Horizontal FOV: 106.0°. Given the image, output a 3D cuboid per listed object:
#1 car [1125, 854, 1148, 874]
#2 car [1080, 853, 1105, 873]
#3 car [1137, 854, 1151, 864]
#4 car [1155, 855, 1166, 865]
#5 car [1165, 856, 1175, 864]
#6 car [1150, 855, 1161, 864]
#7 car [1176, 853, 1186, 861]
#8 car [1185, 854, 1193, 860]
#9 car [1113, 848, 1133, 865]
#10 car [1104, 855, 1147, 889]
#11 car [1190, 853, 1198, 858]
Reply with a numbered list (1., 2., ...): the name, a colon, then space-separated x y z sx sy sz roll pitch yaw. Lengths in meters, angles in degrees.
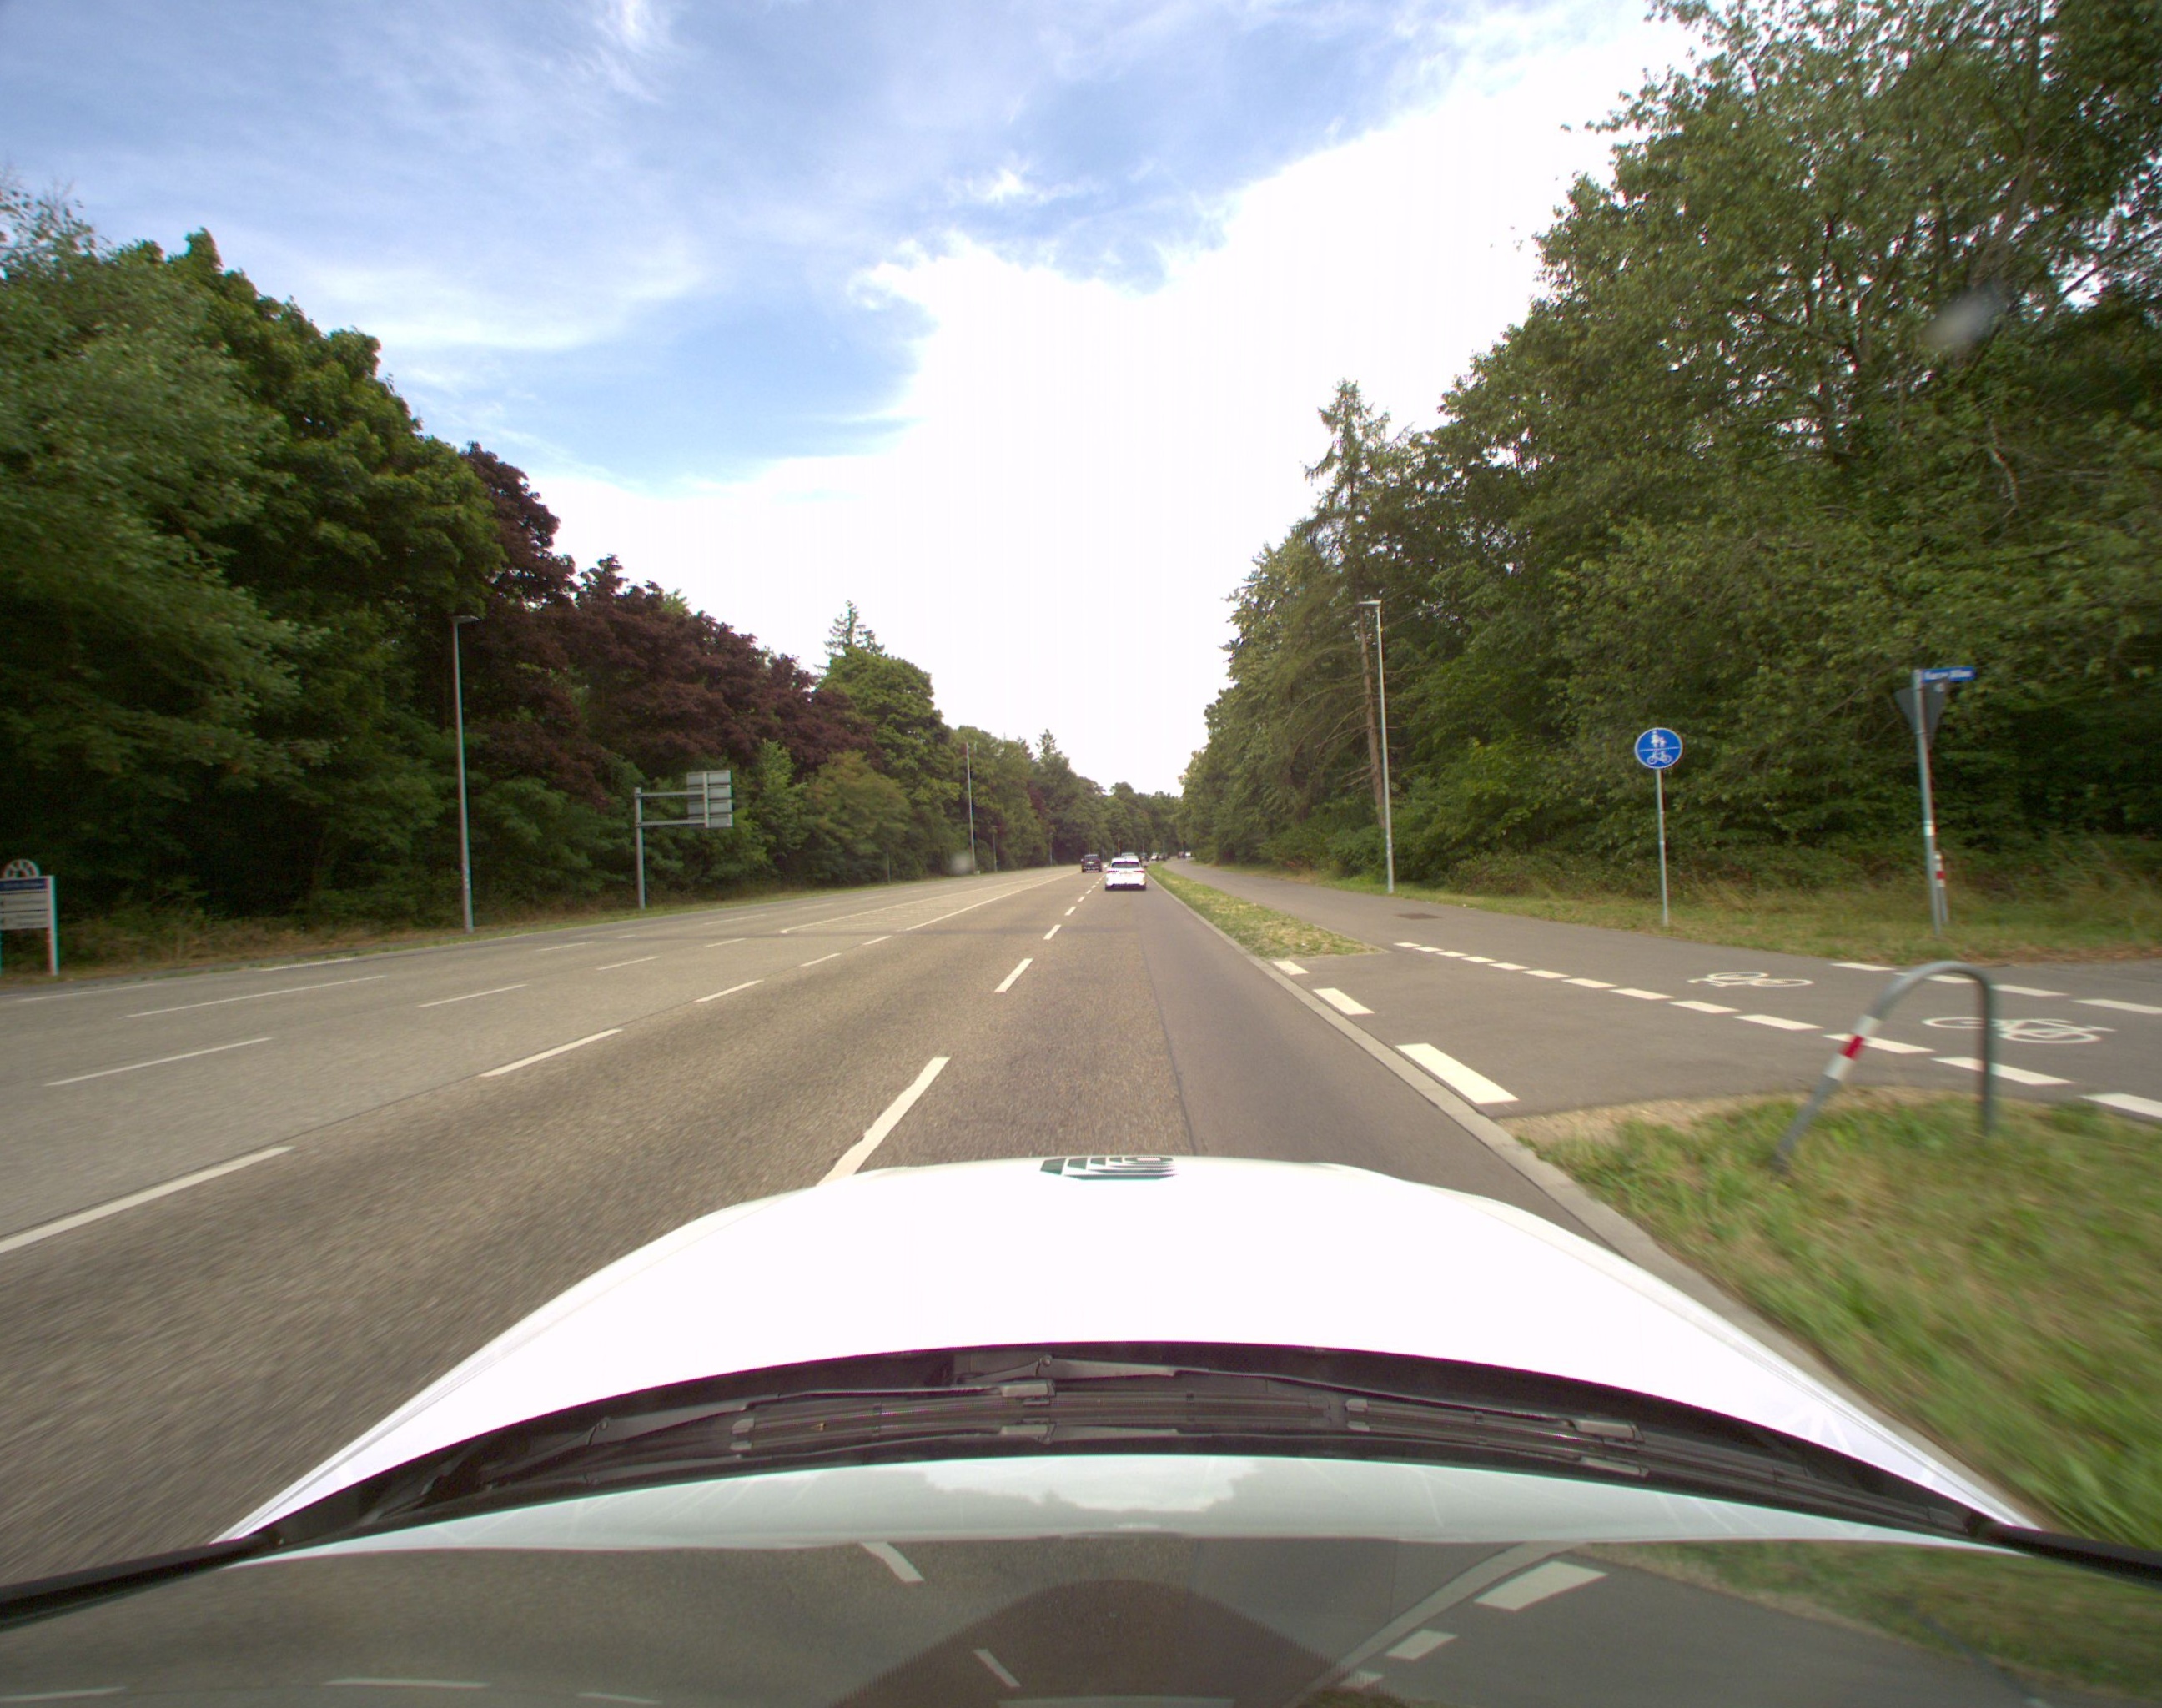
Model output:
1. car: 4.173 0.779 61.738 1.629 1.420 4.002 0 -1 2
2. car: 1.078 0.883 75.661 1.984 1.787 4.006 0 -1 6
3. car: 12.425 0.972 160.386 1.980 1.783 4.014 0 -1 13
4. car: 15.781 1.184 161.612 1.981 1.783 4.011 0 -1 10
5. car: 21.461 1.423 196.869 1.980 1.783 4.013 0 -1 12
6. car: 16.525 1.203 180.460 1.980 1.783 4.014 0 -1 13
7. car: 25.331 0.759 206.477 1.979 1.783 4.015 0 -1 14
8. car: 32.634 0.934 245.984 1.873 1.816 4.017 0 -1 17
9. car: 4.405 0.239 85.920 1.986 1.607 4.003 0 1 2
10. car: 1.997 0.788 36.517 1.829 1.410 4.494 0 -1 3
11. car: 32.400 0.320 232.605 1.980 1.409 4.013 0 -1 13
